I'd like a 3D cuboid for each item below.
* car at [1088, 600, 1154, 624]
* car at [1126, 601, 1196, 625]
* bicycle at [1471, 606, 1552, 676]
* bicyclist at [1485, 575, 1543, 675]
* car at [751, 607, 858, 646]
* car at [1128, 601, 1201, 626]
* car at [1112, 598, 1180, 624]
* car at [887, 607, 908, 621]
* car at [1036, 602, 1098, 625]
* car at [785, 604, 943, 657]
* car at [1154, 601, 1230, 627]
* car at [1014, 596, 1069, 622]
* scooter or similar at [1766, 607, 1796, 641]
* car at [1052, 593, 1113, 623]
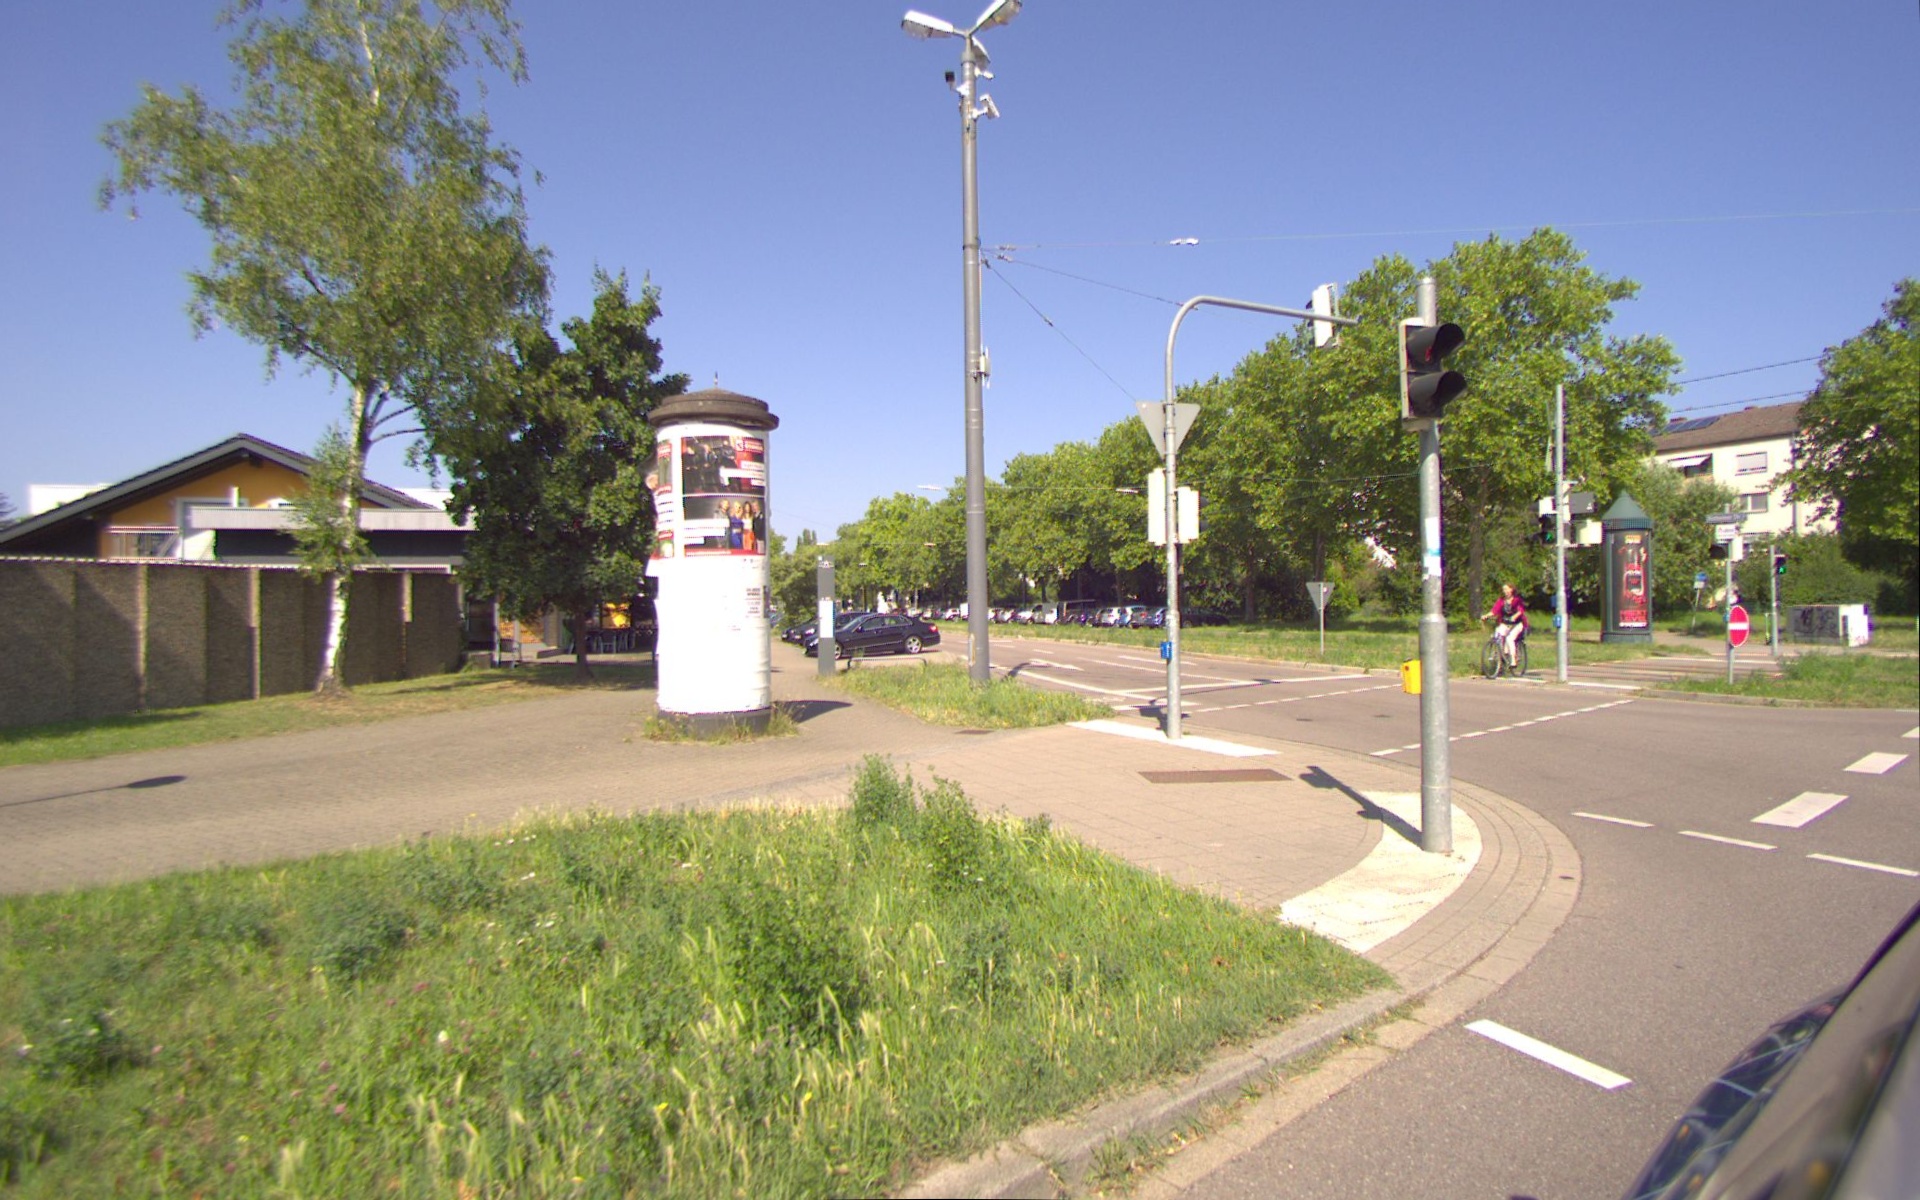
[{"bbox_3d":[11.641,0.843,73.321,4.264,1.654,2.003,-1,0,-23],"label":"car"},{"bbox_3d":[13.566,0.858,68.370,4.264,1.509,2.003,-1,0,-23],"label":"car"},{"bbox_3d":[10.269,0.729,18.811,2.089,1.200,0.692,-1,0,-43],"label":"bicycle"},{"bbox_3d":[10.305,0.448,18.833,0.797,1.810,0.701,0,-1,-43],"label":"bicyclist"},{"bbox_3d":[-6.779,1.150,44.399,4.134,1.518,2.138,-1,-1,-42],"label":"car"},{"bbox_3d":[13.318,0.871,65.788,4.264,1.509,2.003,-1,0,-23],"label":"car"},{"bbox_3d":[13.091,0.782,71.117,4.264,1.654,2.003,-1,-2,-23],"label":"car"},{"bbox_3d":[-7.836,1.715,126.608,1.756,1.676,4.007,-1,-1,-14],"label":"car"},{"bbox_3d":[8.191,1.028,77.484,4.264,1.654,2.003,-1,0,-23],"label":"car"},{"bbox_3d":[-3.319,1.017,34.821,5.012,1.517,2.147,-2,0,-20],"label":"car"},{"bbox_3d":[14.432,0.865,62.991,4.264,1.509,2.003,-1,0,-23],"label":"car"},{"bbox_3d":[7.320,0.796,90.578,4.494,2.237,2.003,-1,0,-23],"label":"car"},{"bbox_3d":[29.248,0.851,36.075,0.512,1.156,1.432,-3,-1,28],"label":"scooter or similar"},{"bbox_3d":[9.913,0.664,81.948,4.493,2.319,2.004,-1,0,-18],"label":"car"}]
